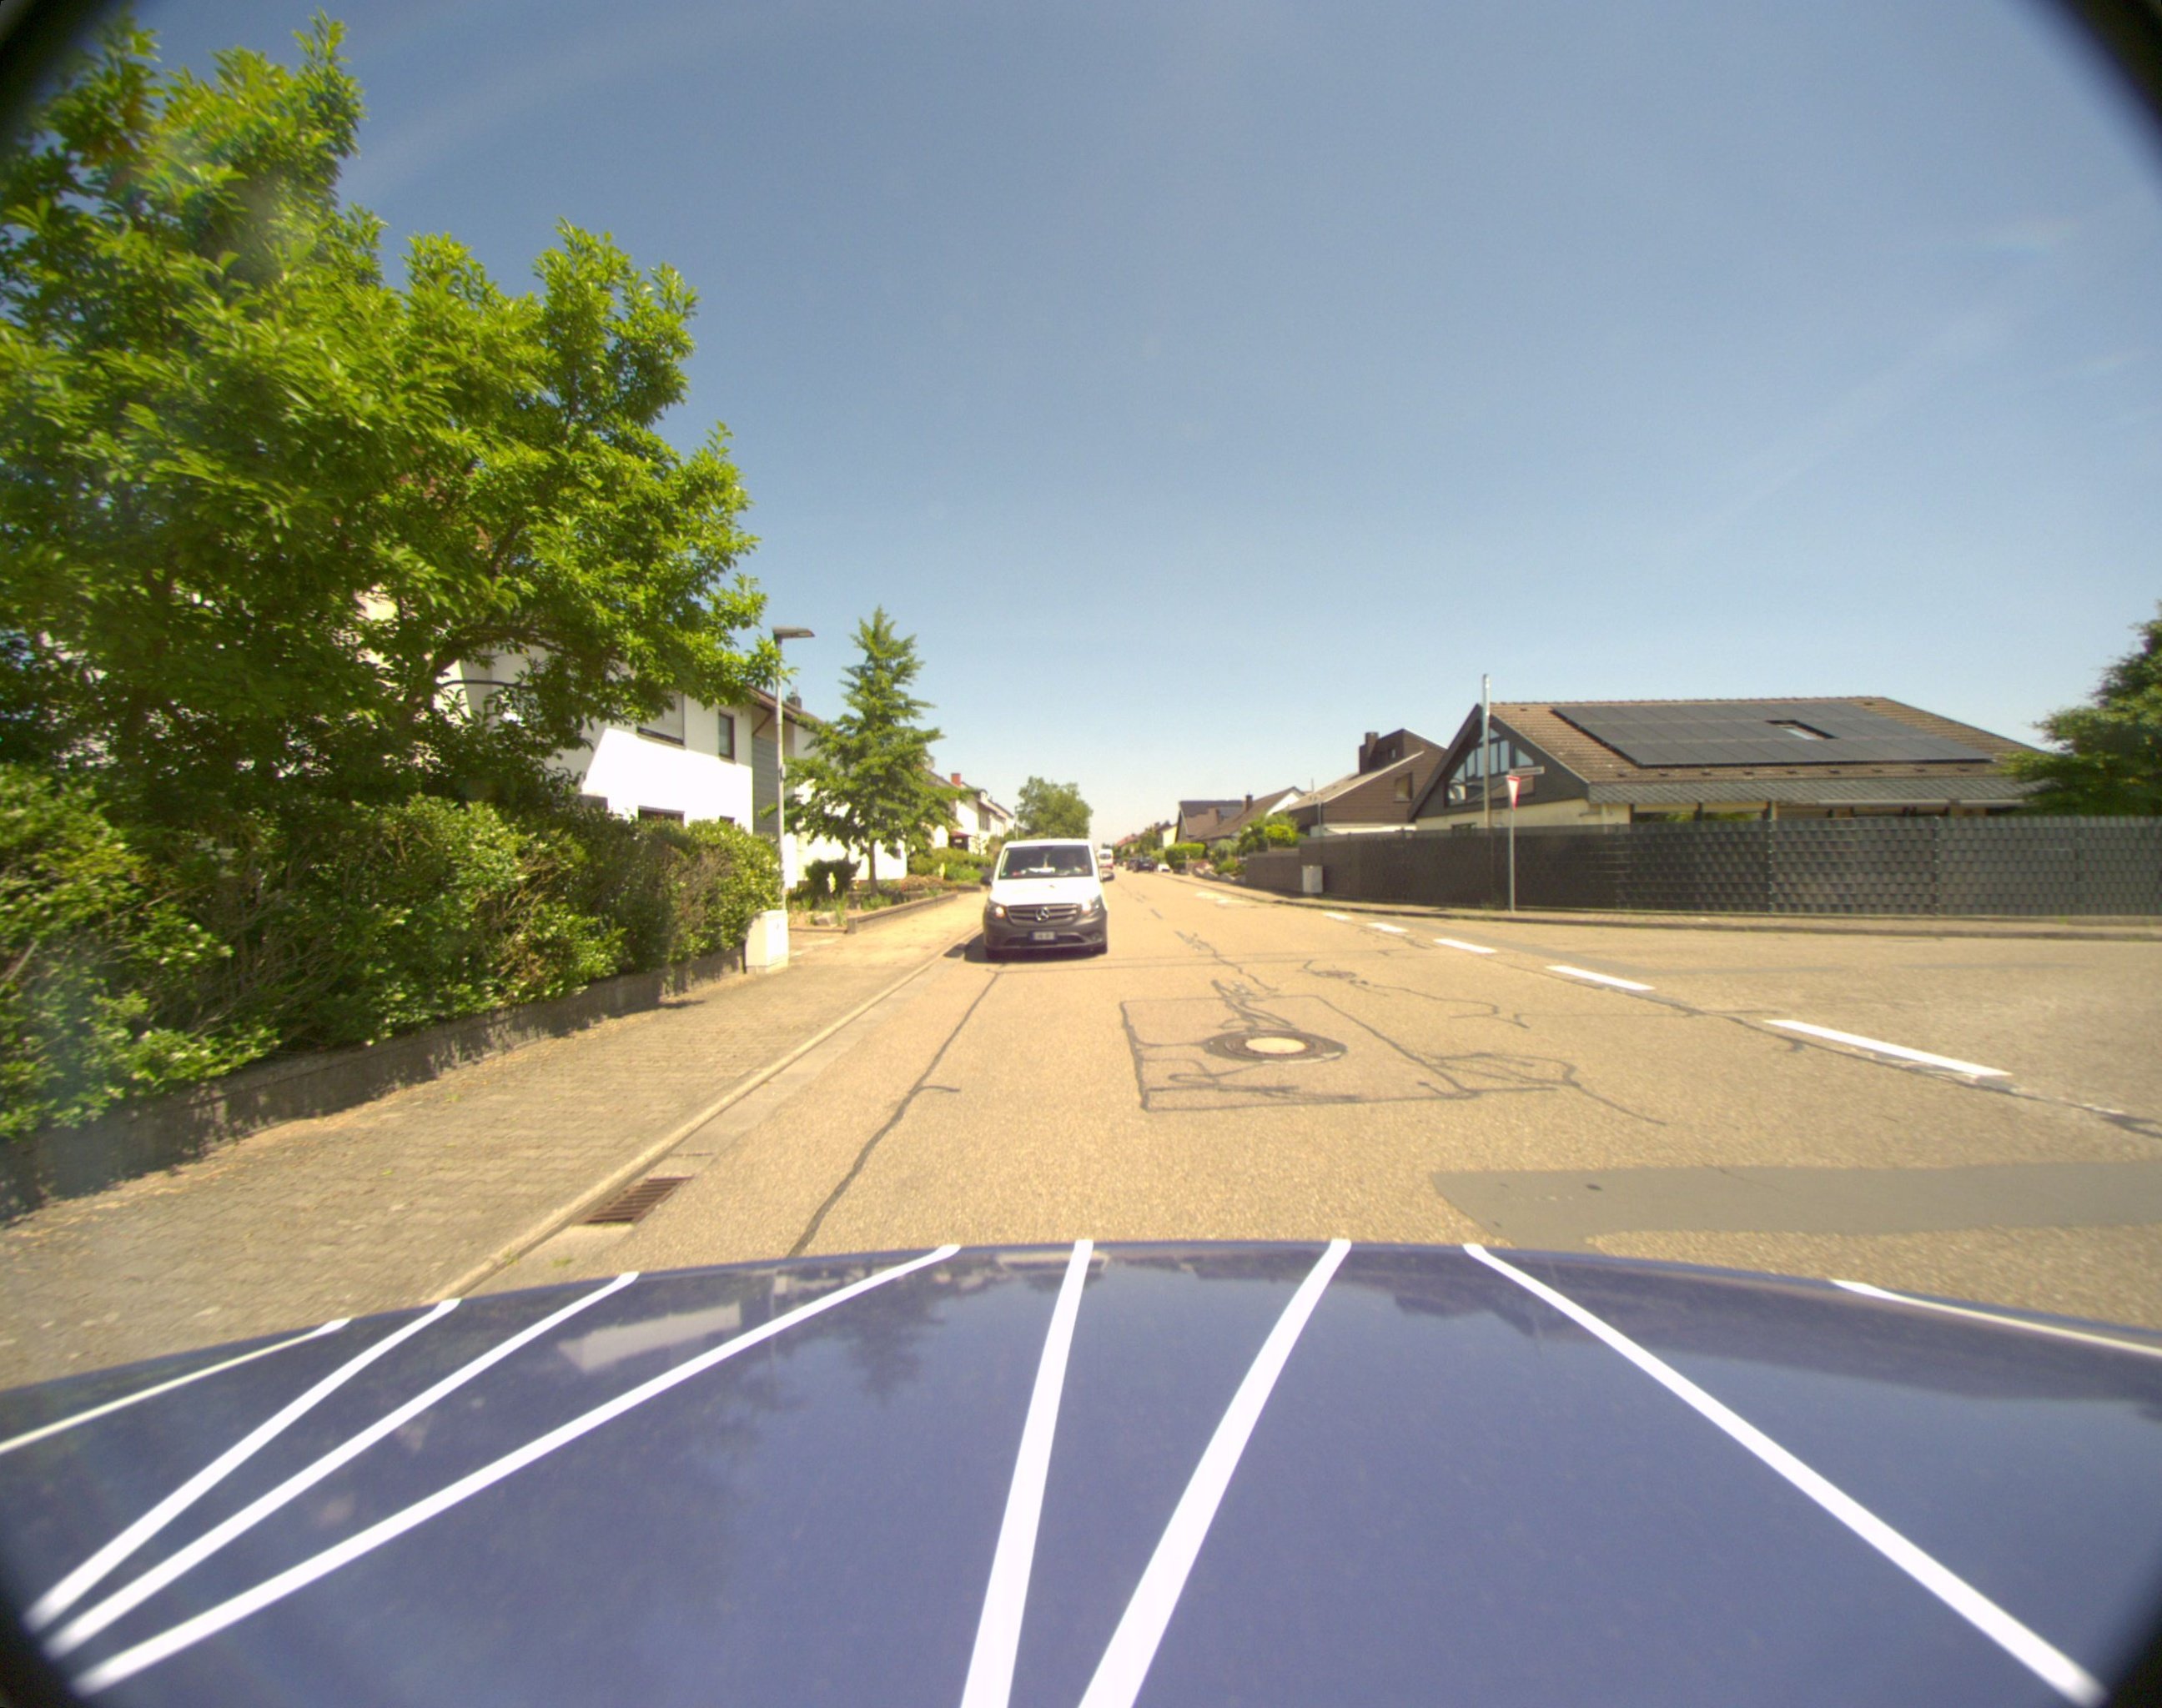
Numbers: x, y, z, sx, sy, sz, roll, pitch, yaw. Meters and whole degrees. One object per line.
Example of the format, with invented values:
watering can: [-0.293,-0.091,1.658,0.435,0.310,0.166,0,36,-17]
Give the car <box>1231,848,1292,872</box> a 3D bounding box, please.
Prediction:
car: [13.084,0.443,55.270,3.997,1.674,1.902,-1,0,-1]

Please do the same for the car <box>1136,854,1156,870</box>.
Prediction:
car: [6.250,0.760,73.006,1.807,1.390,4.001,-1,1,3]

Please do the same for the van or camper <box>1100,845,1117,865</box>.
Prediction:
van or camper: [3.570,0.100,100.107,2.069,2.577,4.603,0,0,0]

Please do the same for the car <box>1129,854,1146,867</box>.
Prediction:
car: [6.599,0.739,89.196,1.998,1.390,4.001,-1,1,3]

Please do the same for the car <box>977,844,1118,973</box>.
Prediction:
car: [-0.485,0.762,13.506,2.018,1.846,5.067,-1,1,0]
